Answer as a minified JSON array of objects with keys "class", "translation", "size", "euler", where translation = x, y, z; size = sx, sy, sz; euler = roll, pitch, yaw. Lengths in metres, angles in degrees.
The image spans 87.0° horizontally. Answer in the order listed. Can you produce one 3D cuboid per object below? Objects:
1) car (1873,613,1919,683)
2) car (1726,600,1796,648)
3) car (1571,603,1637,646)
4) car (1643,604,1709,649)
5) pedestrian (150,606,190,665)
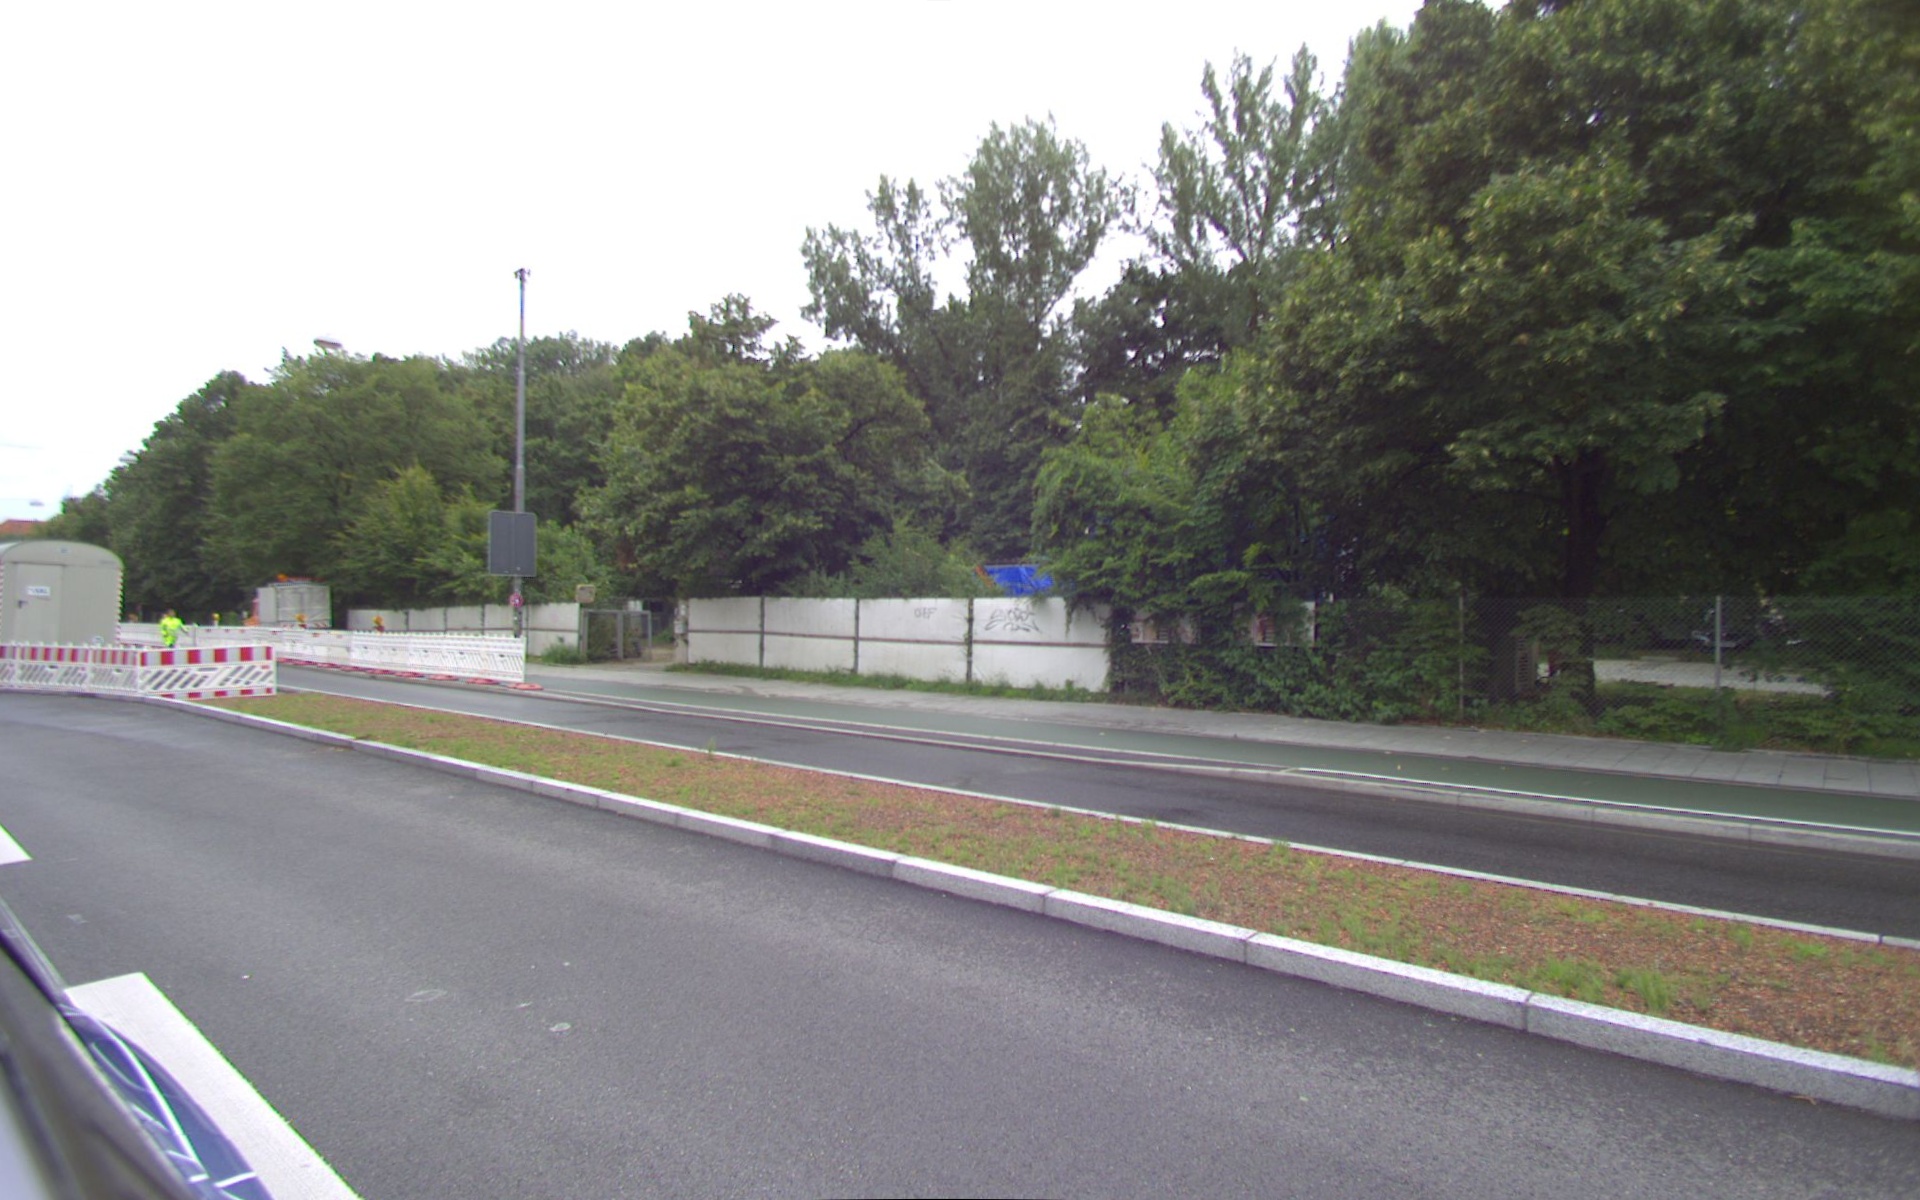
[{"class":"car","translation":[22.683,1.054,22.073],"size":[3.996,1.556,1.753],"euler":[-1,-2,39]},{"class":"car","translation":[30.530,0.922,38.635],"size":[1.997,1.732,3.949],"euler":[-1,-2,38]},{"class":"car","translation":[26.872,1.014,42.176],"size":[1.997,1.732,3.950],"euler":[-1,-2,37]},{"class":"car","translation":[28.995,1.045,40.930],"size":[1.997,1.732,3.949],"euler":[-1,-2,38]},{"class":"pedestrian","translation":[-26.779,1.199,34.304],"size":[0.874,1.956,0.879],"euler":[-1,-2,38]}]
